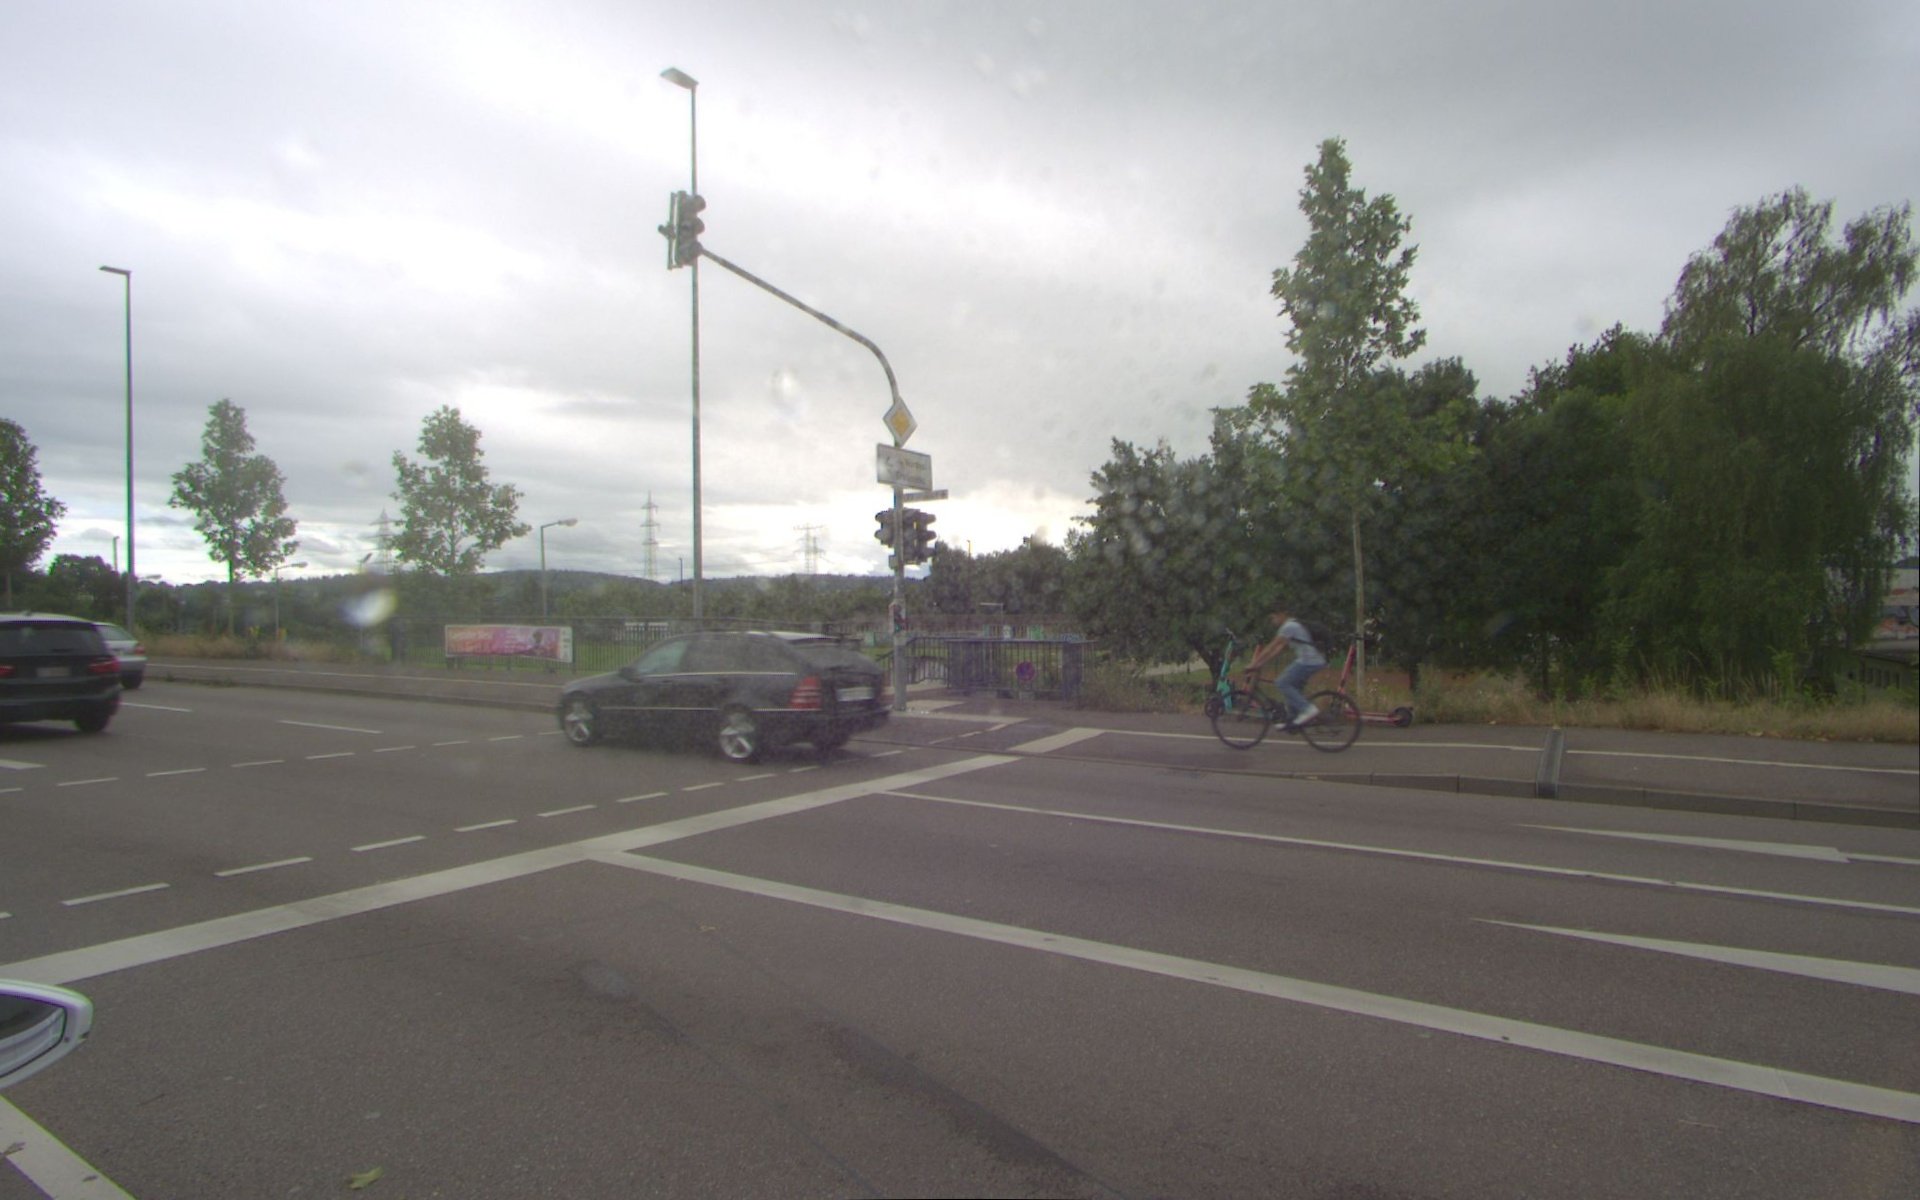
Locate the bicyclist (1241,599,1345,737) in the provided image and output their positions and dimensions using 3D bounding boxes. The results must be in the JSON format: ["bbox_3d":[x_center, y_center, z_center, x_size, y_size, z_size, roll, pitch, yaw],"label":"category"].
[{"bbox_3d":[3.787,0.754,11.370,0.954,1.472,0.689,-2,2,30],"label":"bicyclist"}]

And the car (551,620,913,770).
[{"bbox_3d":[-2.806,1.011,12.010,4.256,1.498,1.732,0,-2,32],"label":"car"}]

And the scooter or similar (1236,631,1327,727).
[{"bbox_3d":[4.444,1.066,13.866,1.139,1.260,0.389,0,1,35],"label":"scooter or similar"}]

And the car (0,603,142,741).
[{"bbox_3d":[-13.251,0.888,13.499,4.247,1.658,1.832,0,-1,26],"label":"car"}]

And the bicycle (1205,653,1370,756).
[{"bbox_3d":[3.723,1.168,11.415,1.684,1.060,0.546,-2,1,30],"label":"bicycle"}]

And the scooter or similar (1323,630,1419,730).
[{"bbox_3d":[5.315,1.028,12.972,1.035,1.230,0.372,-3,-1,40],"label":"scooter or similar"}]

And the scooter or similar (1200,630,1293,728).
[{"bbox_3d":[3.920,1.061,13.741,1.141,1.260,0.474,0,1,40],"label":"scooter or similar"}]

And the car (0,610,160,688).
[{"bbox_3d":[-19.052,0.996,21.383,3.574,1.528,1.728,0,-1,27],"label":"car"}]
